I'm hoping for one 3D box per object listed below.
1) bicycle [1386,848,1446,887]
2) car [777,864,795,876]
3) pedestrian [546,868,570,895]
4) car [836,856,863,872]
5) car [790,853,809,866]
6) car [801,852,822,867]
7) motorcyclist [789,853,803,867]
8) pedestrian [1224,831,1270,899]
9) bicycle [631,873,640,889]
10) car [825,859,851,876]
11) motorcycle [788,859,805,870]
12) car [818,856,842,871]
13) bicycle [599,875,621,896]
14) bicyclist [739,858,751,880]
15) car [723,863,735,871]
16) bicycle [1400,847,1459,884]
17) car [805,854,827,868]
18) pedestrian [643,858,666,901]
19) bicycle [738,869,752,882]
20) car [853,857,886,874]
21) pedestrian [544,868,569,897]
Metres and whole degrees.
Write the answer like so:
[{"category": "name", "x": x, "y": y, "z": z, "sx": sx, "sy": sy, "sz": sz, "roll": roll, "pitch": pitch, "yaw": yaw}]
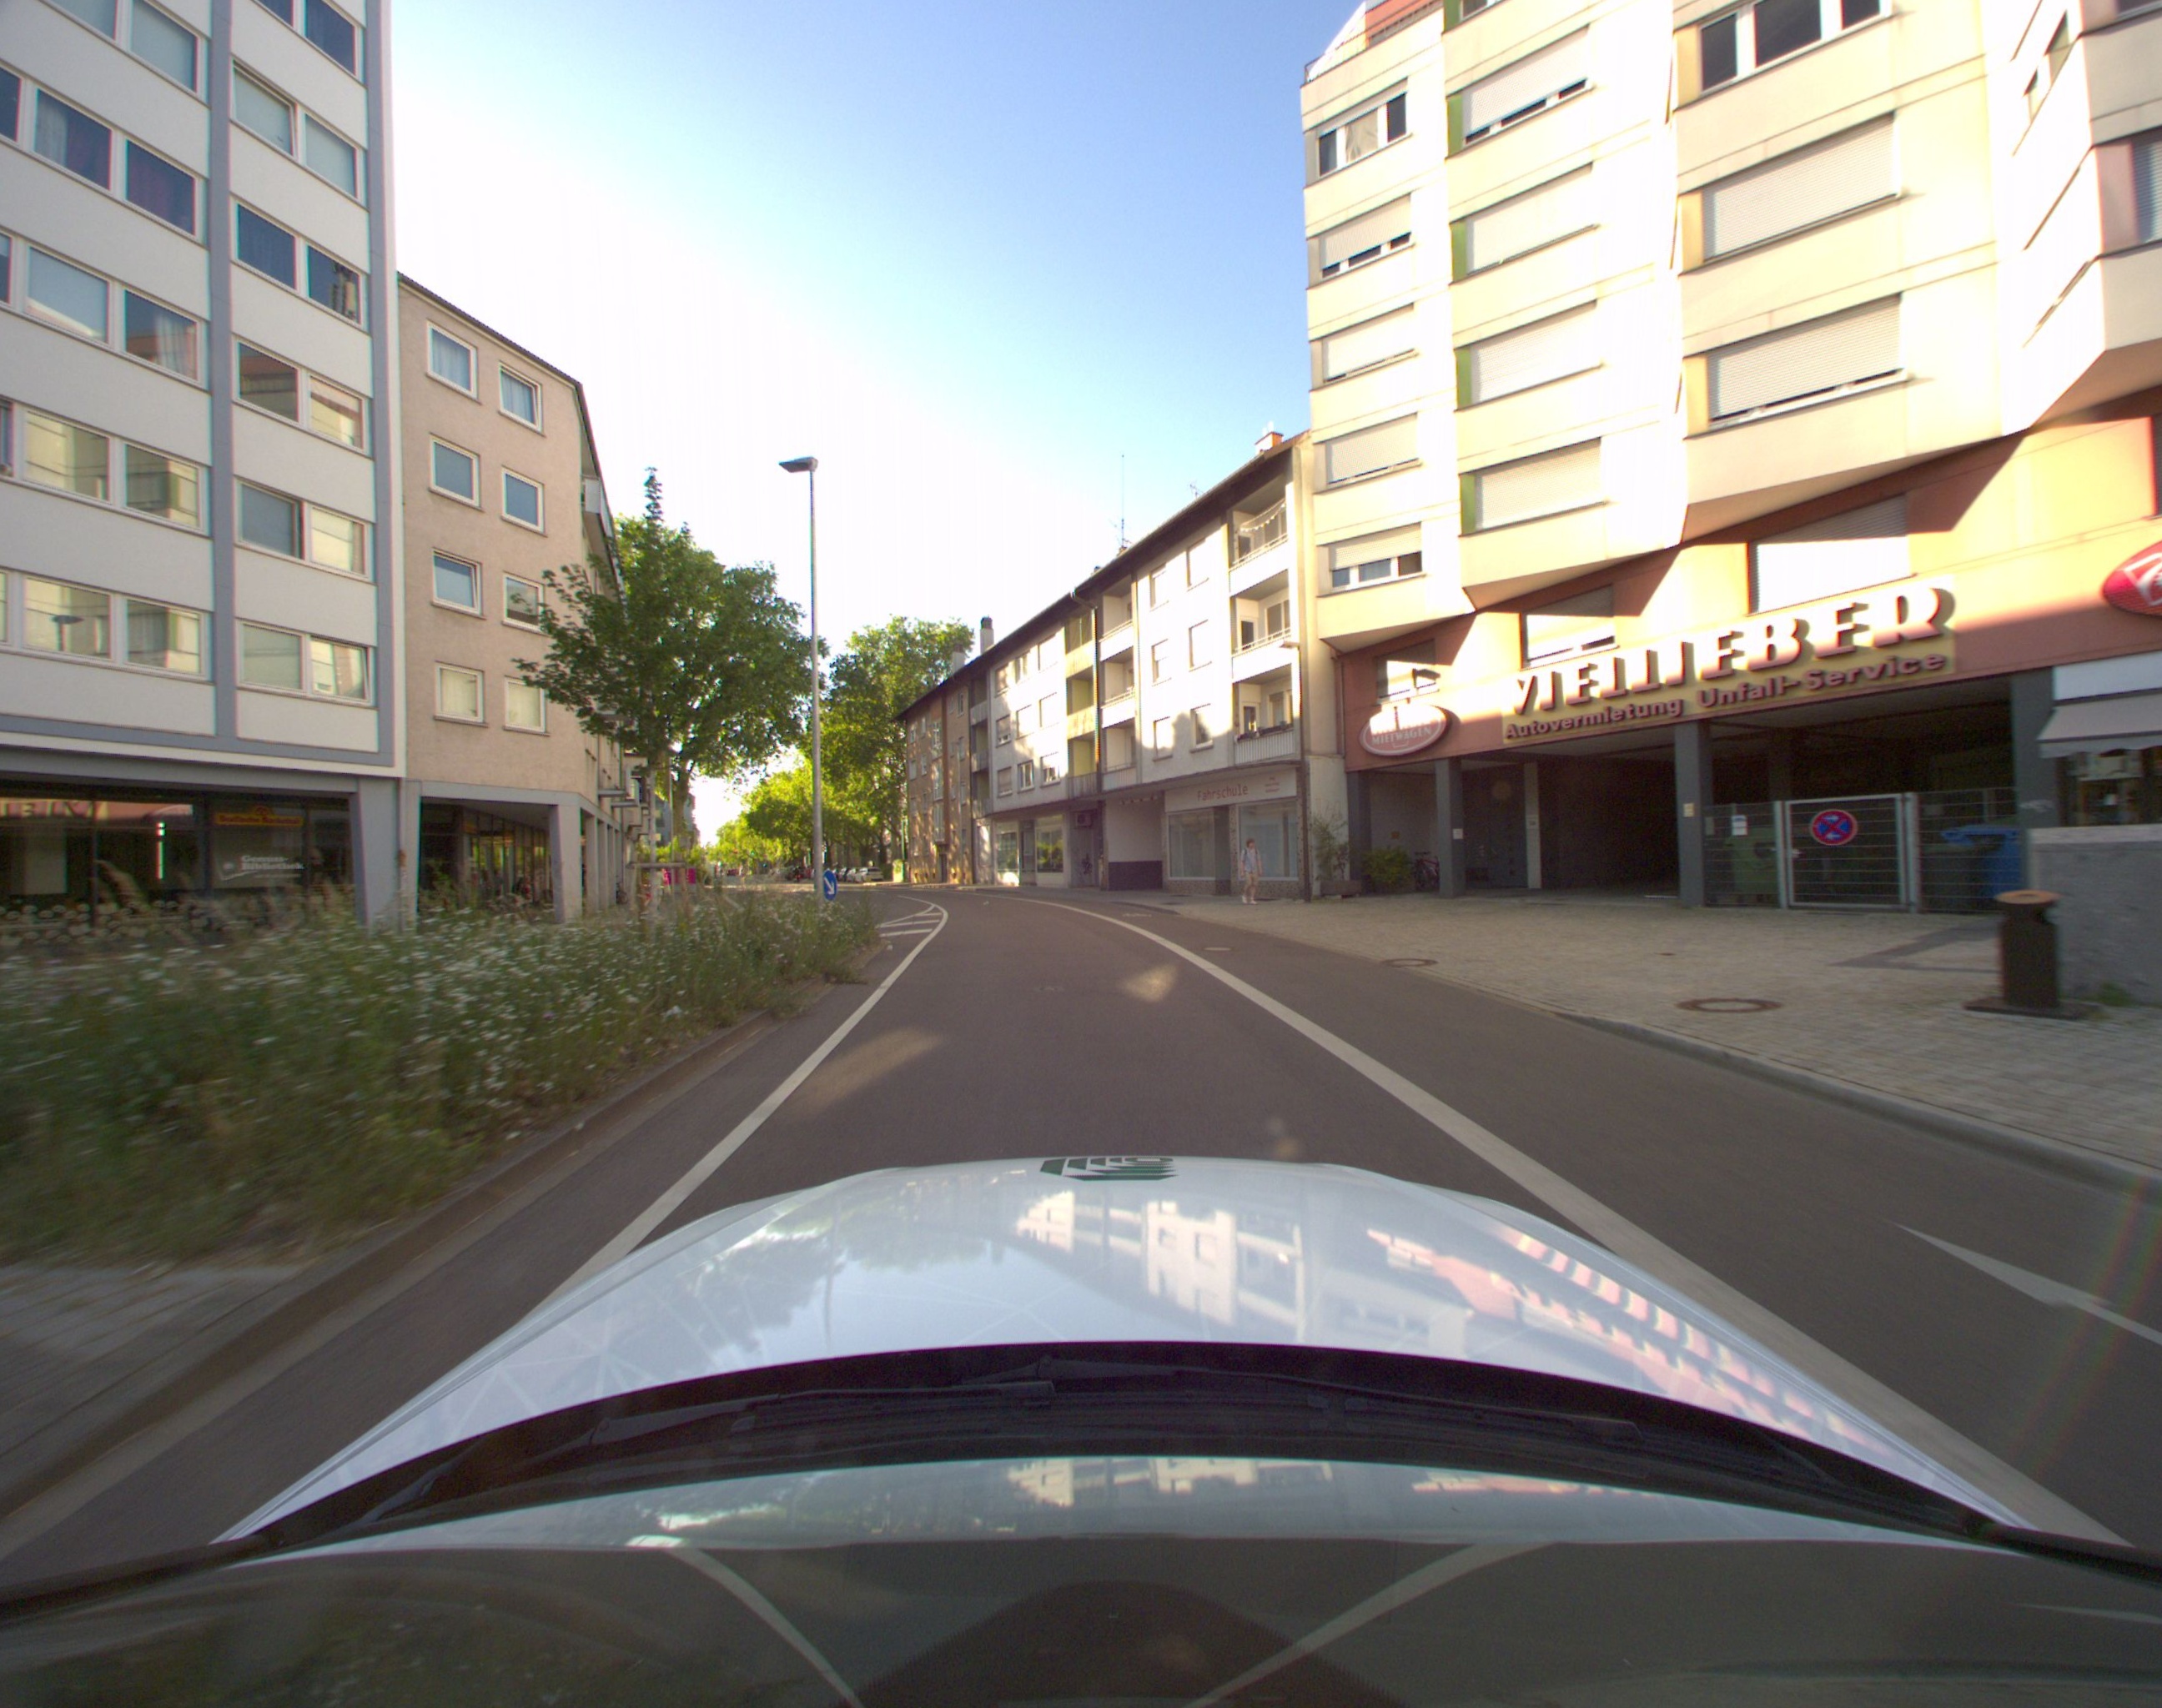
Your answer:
[{"category": "bicycle", "x": 9.436, "y": 0.366, "z": 22.983, "sx": 0.497, "sy": 1.038, "sz": 1.624, "roll": -1, "pitch": 0, "yaw": -26}, {"category": "car", "x": -34.275, "y": 1.830, "z": 94.614, "sx": 1.930, "sy": 1.388, "sz": 3.972, "roll": -1, "pitch": 0, "yaw": -21}, {"category": "pedestrian", "x": -24.490, "y": 1.283, "z": 38.148, "sx": 0.836, "sy": 1.265, "sz": 0.847, "roll": -1, "pitch": -1, "yaw": -25}, {"category": "car", "x": -24.273, "y": 1.020, "z": 85.291, "sx": 2.044, "sy": 1.617, "sz": 4.058, "roll": -2, "pitch": 0, "yaw": -27}, {"category": "car", "x": -40.645, "y": 0.745, "z": 117.624, "sx": 2.044, "sy": 1.742, "sz": 4.058, "roll": -2, "pitch": 1, "yaw": -27}, {"category": "car", "x": -35.592, "y": 0.744, "z": 107.597, "sx": 2.044, "sy": 1.934, "sz": 4.058, "roll": -2, "pitch": 1, "yaw": -27}, {"category": "motorcyclist", "x": -27.952, "y": 0.551, "z": 79.851, "sx": 0.977, "sy": 1.347, "sz": 1.125, "roll": 0, "pitch": 0, "yaw": -35}, {"category": "pedestrian", "x": 4.702, "y": 0.313, "z": 23.078, "sx": 0.735, "sy": 1.854, "sz": 0.940, "roll": -4, "pitch": 0, "yaw": -27}, {"category": "bicycle", "x": -24.846, "y": 1.483, "z": 45.411, "sx": 0.391, "sy": 0.878, "sz": 1.598, "roll": 2, "pitch": -2, "yaw": -27}, {"category": "car", "x": -27.046, "y": 1.500, "z": 90.434, "sx": 2.044, "sy": 1.759, "sz": 4.058, "roll": -1, "pitch": 0, "yaw": -27}, {"category": "motorcycle", "x": -27.869, "y": 1.014, "z": 79.745, "sx": 0.980, "sy": 1.132, "sz": 2.775, "roll": 0, "pitch": 0, "yaw": -34}, {"category": "car", "x": -29.592, "y": 1.111, "z": 95.976, "sx": 2.044, "sy": 1.719, "sz": 4.058, "roll": -1, "pitch": 0, "yaw": -27}, {"category": "bicycle", "x": -21.344, "y": 1.429, "z": 36.936, "sx": 0.636, "sy": 0.884, "sz": 1.604, "roll": -2, "pitch": 0, "yaw": -23}, {"category": "bicyclist", "x": -29.947, "y": 1.355, "z": 72.557, "sx": 0.821, "sy": 1.947, "sz": 0.849, "roll": -1, "pitch": 0, "yaw": -31}, {"category": "car", "x": -78.431, "y": 2.883, "z": 181.453, "sx": 2.044, "sy": 1.742, "sz": 4.058, "roll": -2, "pitch": 0, "yaw": -27}, {"category": "bicycle", "x": 10.066, "y": 0.328, "z": 23.595, "sx": 0.497, "sy": 1.038, "sz": 1.624, "roll": -1, "pitch": 0, "yaw": -26}, {"category": "car", "x": -33.696, "y": 0.887, "z": 103.641, "sx": 2.044, "sy": 1.719, "sz": 4.058, "roll": -2, "pitch": 1, "yaw": -27}, {"category": "pedestrian", "x": -17.318, "y": 1.032, "z": 33.046, "sx": 0.810, "sy": 1.724, "sz": 0.769, "roll": 0, "pitch": -1, "yaw": -30}, {"category": "bicycle", "x": -29.950, "y": 1.930, "z": 72.583, "sx": 0.821, "sy": 1.139, "sz": 2.315, "roll": -1, "pitch": 0, "yaw": -31}, {"category": "car", "x": -19.503, "y": 1.078, "z": 74.996, "sx": 2.044, "sy": 1.504, "sz": 4.058, "roll": -2, "pitch": 0, "yaw": -27}, {"category": "pedestrian", "x": -23.961, "y": 1.280, "z": 37.217, "sx": 0.836, "sy": 1.265, "sz": 0.847, "roll": -2, "pitch": 0, "yaw": -25}]
